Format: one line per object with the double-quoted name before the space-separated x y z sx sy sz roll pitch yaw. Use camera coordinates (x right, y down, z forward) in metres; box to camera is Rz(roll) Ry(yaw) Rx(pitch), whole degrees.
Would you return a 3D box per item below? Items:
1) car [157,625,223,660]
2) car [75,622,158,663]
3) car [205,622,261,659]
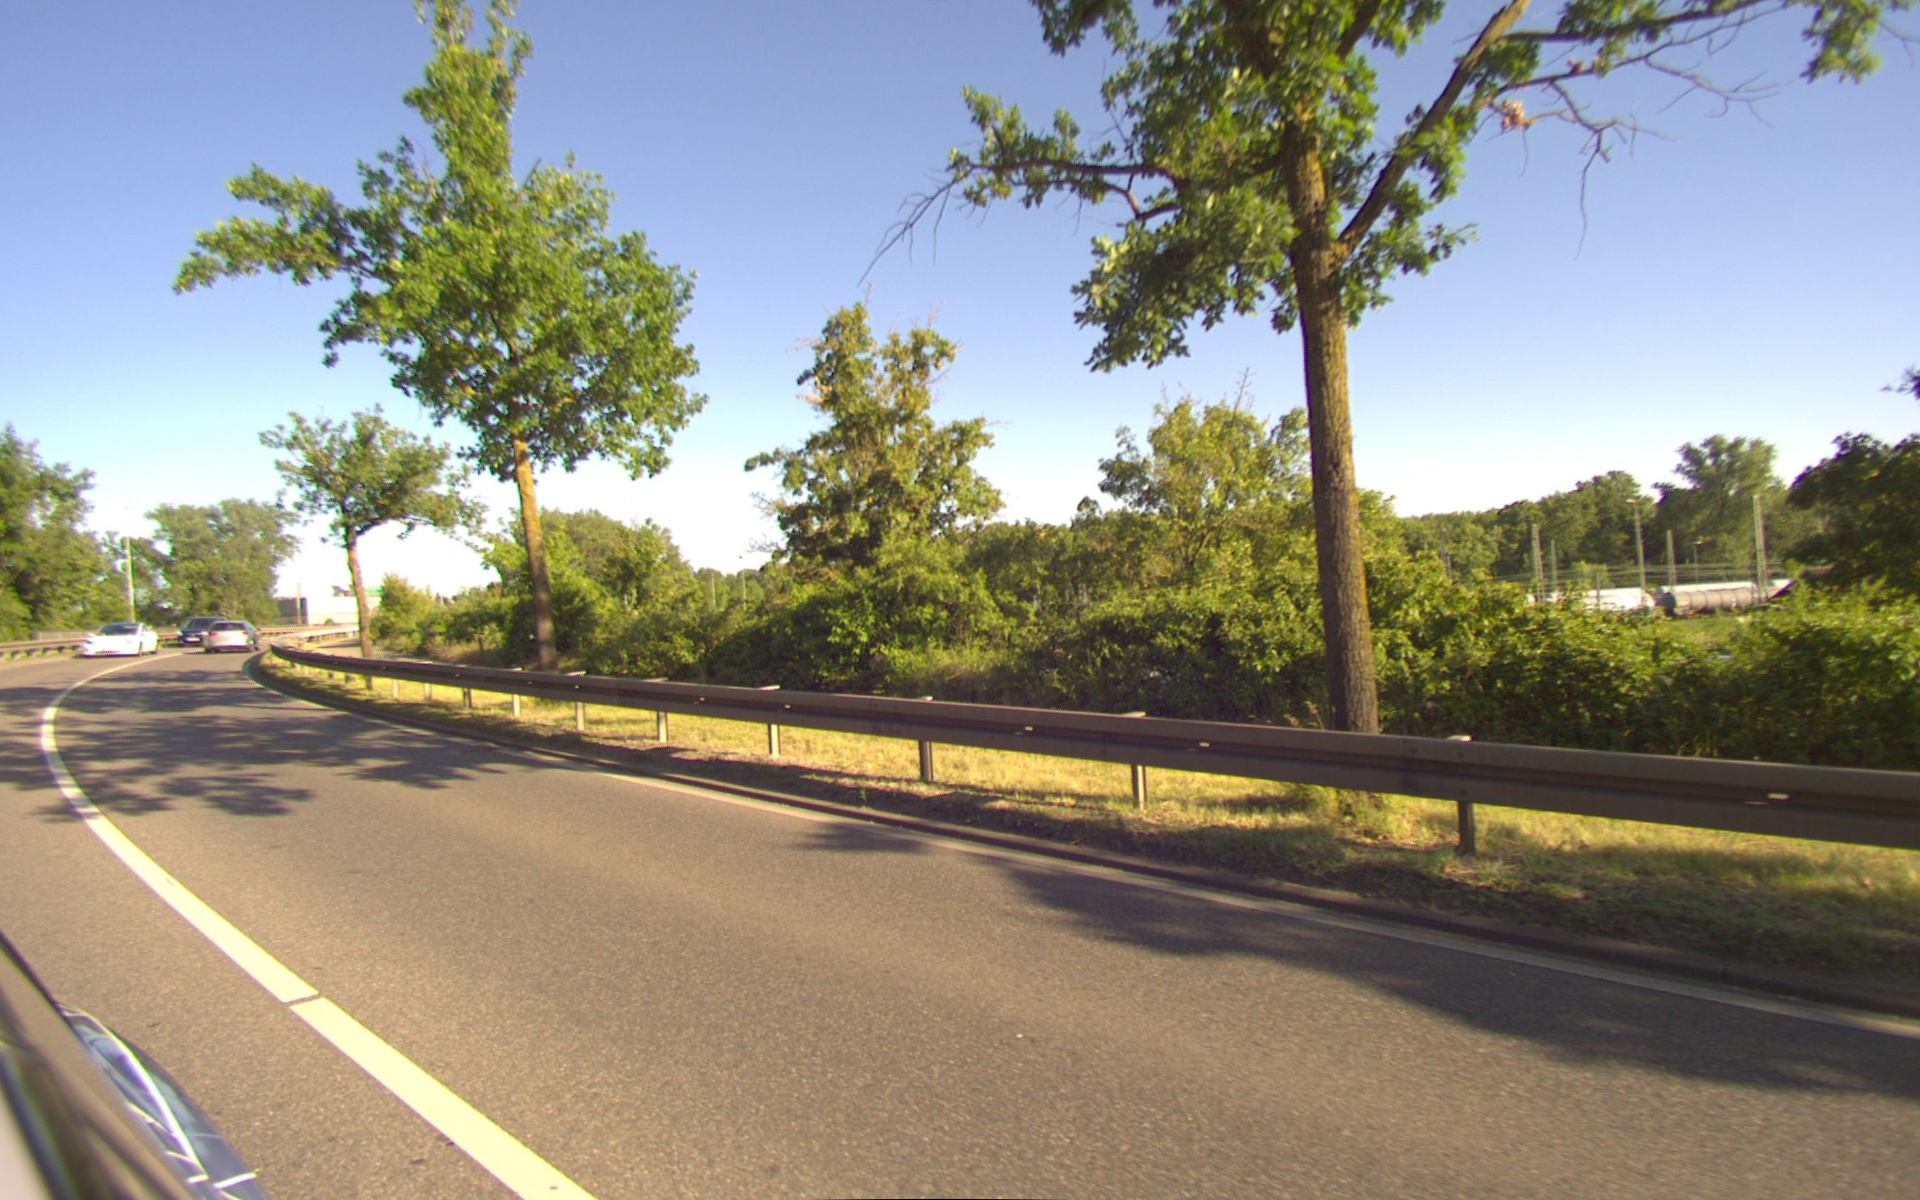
"car" -41.990 2.293 55.285 1.655 1.717 3.616 -1 0 -16
"car" -35.789 1.766 43.049 2.115 1.579 4.210 0 -1 -32
"car" -32.630 1.788 45.502 1.671 1.530 3.993 0 -1 -30
